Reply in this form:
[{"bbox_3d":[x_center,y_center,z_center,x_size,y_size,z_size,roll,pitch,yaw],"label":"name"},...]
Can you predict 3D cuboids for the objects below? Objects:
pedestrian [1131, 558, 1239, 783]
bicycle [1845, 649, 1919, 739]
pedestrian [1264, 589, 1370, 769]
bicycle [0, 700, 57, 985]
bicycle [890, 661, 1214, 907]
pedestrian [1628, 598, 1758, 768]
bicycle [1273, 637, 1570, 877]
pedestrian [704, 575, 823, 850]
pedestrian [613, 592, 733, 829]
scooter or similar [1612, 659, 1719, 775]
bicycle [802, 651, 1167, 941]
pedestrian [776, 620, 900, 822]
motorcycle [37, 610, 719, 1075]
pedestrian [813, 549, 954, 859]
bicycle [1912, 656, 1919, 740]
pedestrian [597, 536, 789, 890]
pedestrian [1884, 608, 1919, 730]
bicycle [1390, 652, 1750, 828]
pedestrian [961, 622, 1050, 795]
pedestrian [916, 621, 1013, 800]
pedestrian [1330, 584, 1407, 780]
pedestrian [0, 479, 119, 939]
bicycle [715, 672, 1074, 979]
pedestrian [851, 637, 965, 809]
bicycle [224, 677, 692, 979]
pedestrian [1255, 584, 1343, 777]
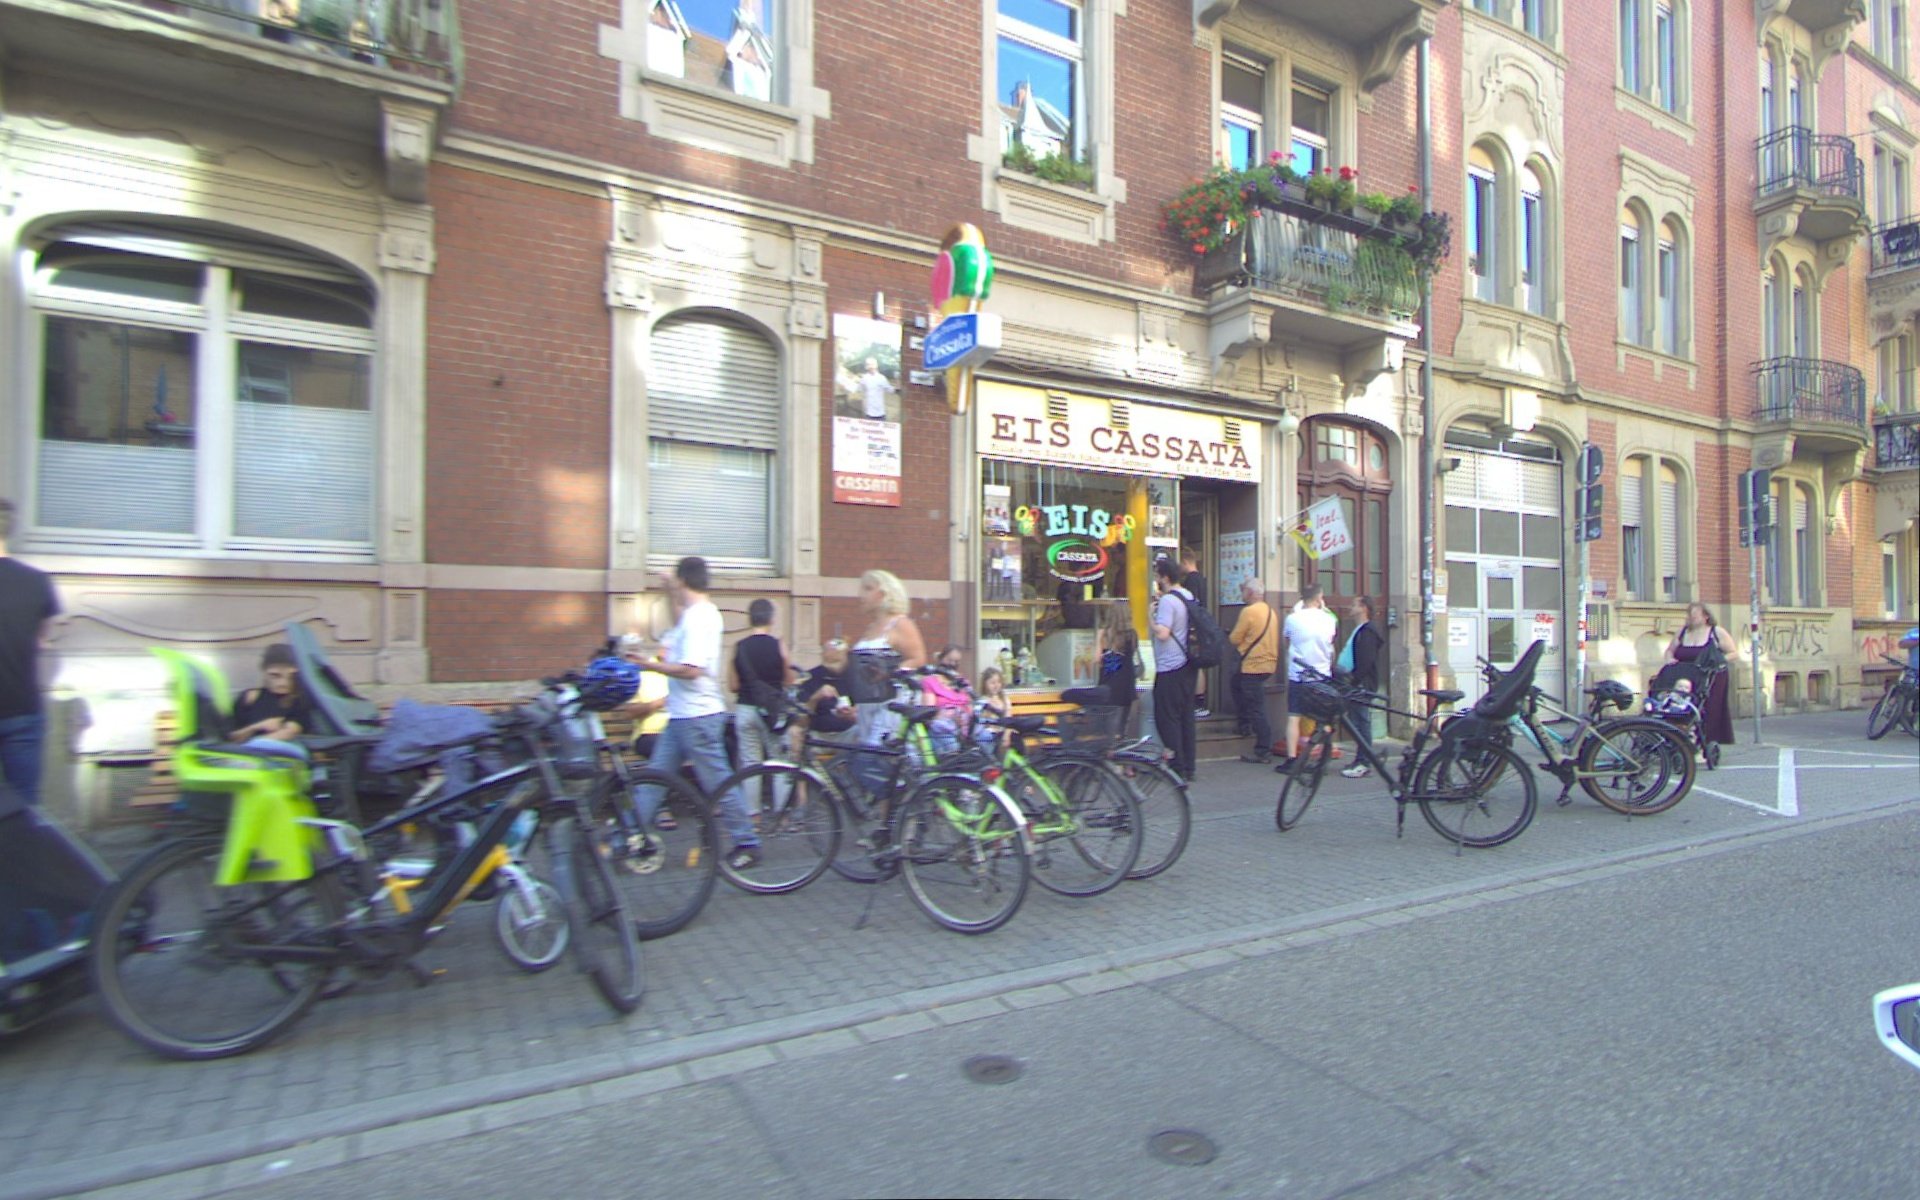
[{"bbox_3d":[1.991,0.588,8.869,0.750,1.878,0.664,1,0,30],"label":"pedestrian"},{"bbox_3d":[12.574,1.225,13.275,1.876,1.110,0.492,2,0,-21],"label":"bicycle"},{"bbox_3d":[3.585,0.764,10.106,0.754,1.718,0.660,1,0,-30],"label":"pedestrian"},{"bbox_3d":[-3.698,0.913,3.161,0.402,1.044,1.684,1,0,-9],"label":"bicycle"},{"bbox_3d":[0.498,0.956,5.619,1.705,1.135,0.555,1,0,25],"label":"bicycle"},{"bbox_3d":[7.711,0.825,10.572,0.821,1.683,0.904,1,0,-38],"label":"pedestrian"},{"bbox_3d":[2.899,0.932,6.431,1.645,1.340,0.527,1,0,25],"label":"bicycle"},{"bbox_3d":[-1.251,0.675,6.372,0.577,1.638,0.550,1,0,-30],"label":"pedestrian"},{"bbox_3d":[-1.922,0.702,6.706,0.714,1.489,0.604,1,0,-19],"label":"pedestrian"},{"bbox_3d":[7.129,1.151,10.152,0.913,1.069,0.601,1,0,-35],"label":"scooter or similar"},{"bbox_3d":[0.109,0.907,5.122,1.757,1.216,0.590,1,0,25],"label":"bicycle"},{"bbox_3d":[-0.874,0.813,7.124,0.600,1.331,0.719,1,0,-33],"label":"pedestrian"},{"bbox_3d":[-1.917,0.757,3.653,1.990,1.403,0.707,1,0,-16],"label":"motorcycle"},{"bbox_3d":[-0.481,0.604,6.161,0.714,1.775,0.604,1,0,-19],"label":"pedestrian"},{"bbox_3d":[13.209,1.282,12.774,1.868,1.073,0.483,2,0,-6],"label":"bicycle"},{"bbox_3d":[-1.447,0.575,5.458,0.930,1.775,0.604,1,0,-18],"label":"pedestrian"},{"bbox_3d":[13.495,0.956,14.089,0.669,1.683,0.550,1,0,31],"label":"pedestrian"},{"bbox_3d":[4.606,1.034,7.745,2.224,1.174,0.809,1,0,8],"label":"bicycle"},{"bbox_3d":[0.364,0.849,8.170,0.369,1.331,0.696,1,0,-33],"label":"pedestrian"},{"bbox_3d":[0.027,0.838,7.939,0.435,1.331,0.713,1,0,-33],"label":"pedestrian"},{"bbox_3d":[3.758,0.718,9.233,0.555,1.718,0.646,1,0,29],"label":"pedestrian"},{"bbox_3d":[-4.283,0.452,4.420,0.589,1.917,0.648,1,0,0],"label":"pedestrian"},{"bbox_3d":[-0.312,0.948,4.625,1.540,1.135,0.590,1,0,24],"label":"bicycle"},{"bbox_3d":[-0.402,0.896,7.649,0.580,1.212,0.704,1,0,-33],"label":"pedestrian"},{"bbox_3d":[-2.062,0.909,4.359,1.710,1.105,0.578,1,0,-17],"label":"bicycle"},{"bbox_3d":[3.165,0.718,9.356,0.654,1.718,0.585,1,0,30],"label":"pedestrian"}]
